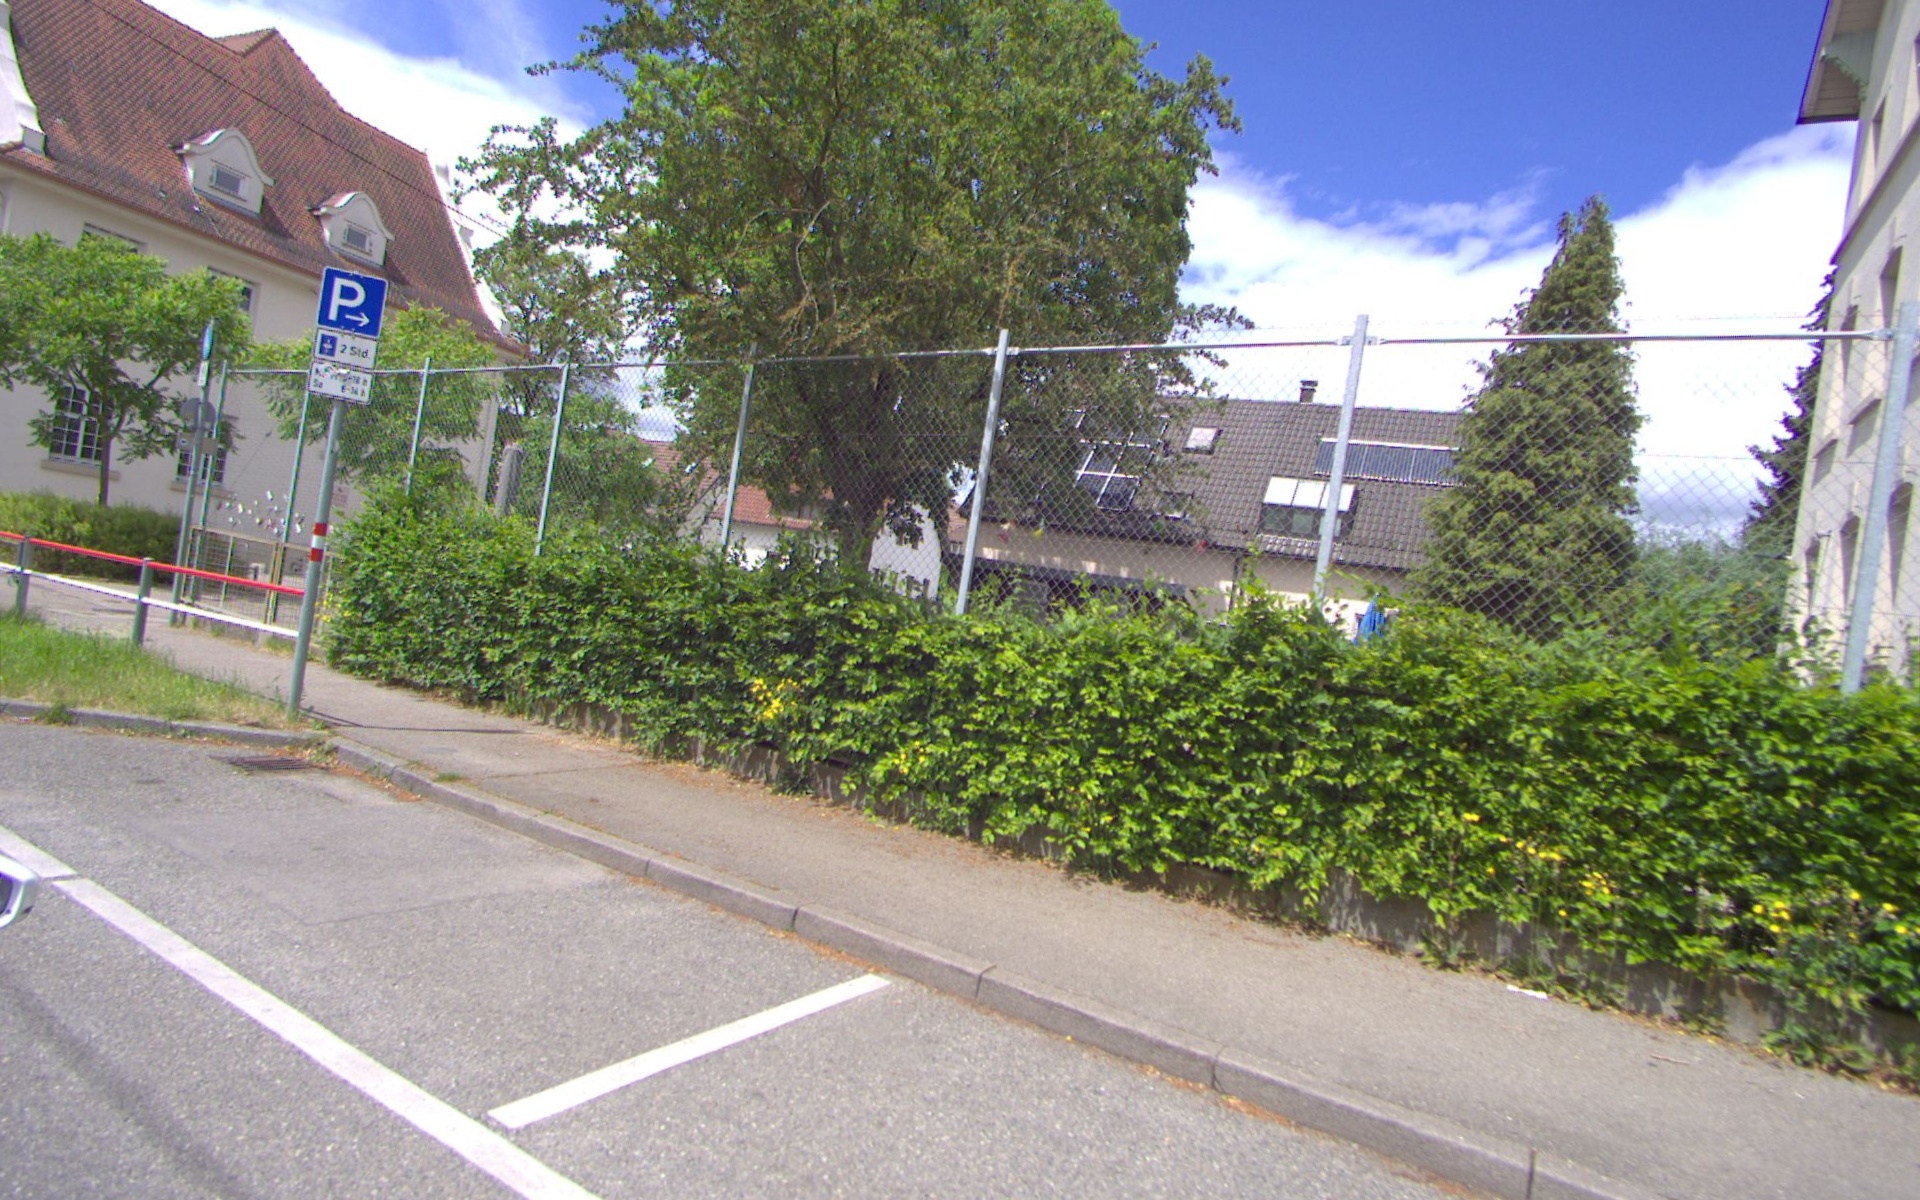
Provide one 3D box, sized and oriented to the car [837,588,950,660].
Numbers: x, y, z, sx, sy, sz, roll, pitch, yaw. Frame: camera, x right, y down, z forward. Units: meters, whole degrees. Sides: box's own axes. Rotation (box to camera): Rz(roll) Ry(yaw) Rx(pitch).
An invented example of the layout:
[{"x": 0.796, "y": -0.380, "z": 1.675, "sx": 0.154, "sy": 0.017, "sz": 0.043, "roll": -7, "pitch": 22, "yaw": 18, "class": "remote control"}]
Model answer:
[{"x": -2.305, "y": 0.920, "z": 36.068, "sx": 1.965, "sy": 2.038, "sz": 3.996, "roll": 11, "pitch": 1, "yaw": 28, "class": "car"}]
